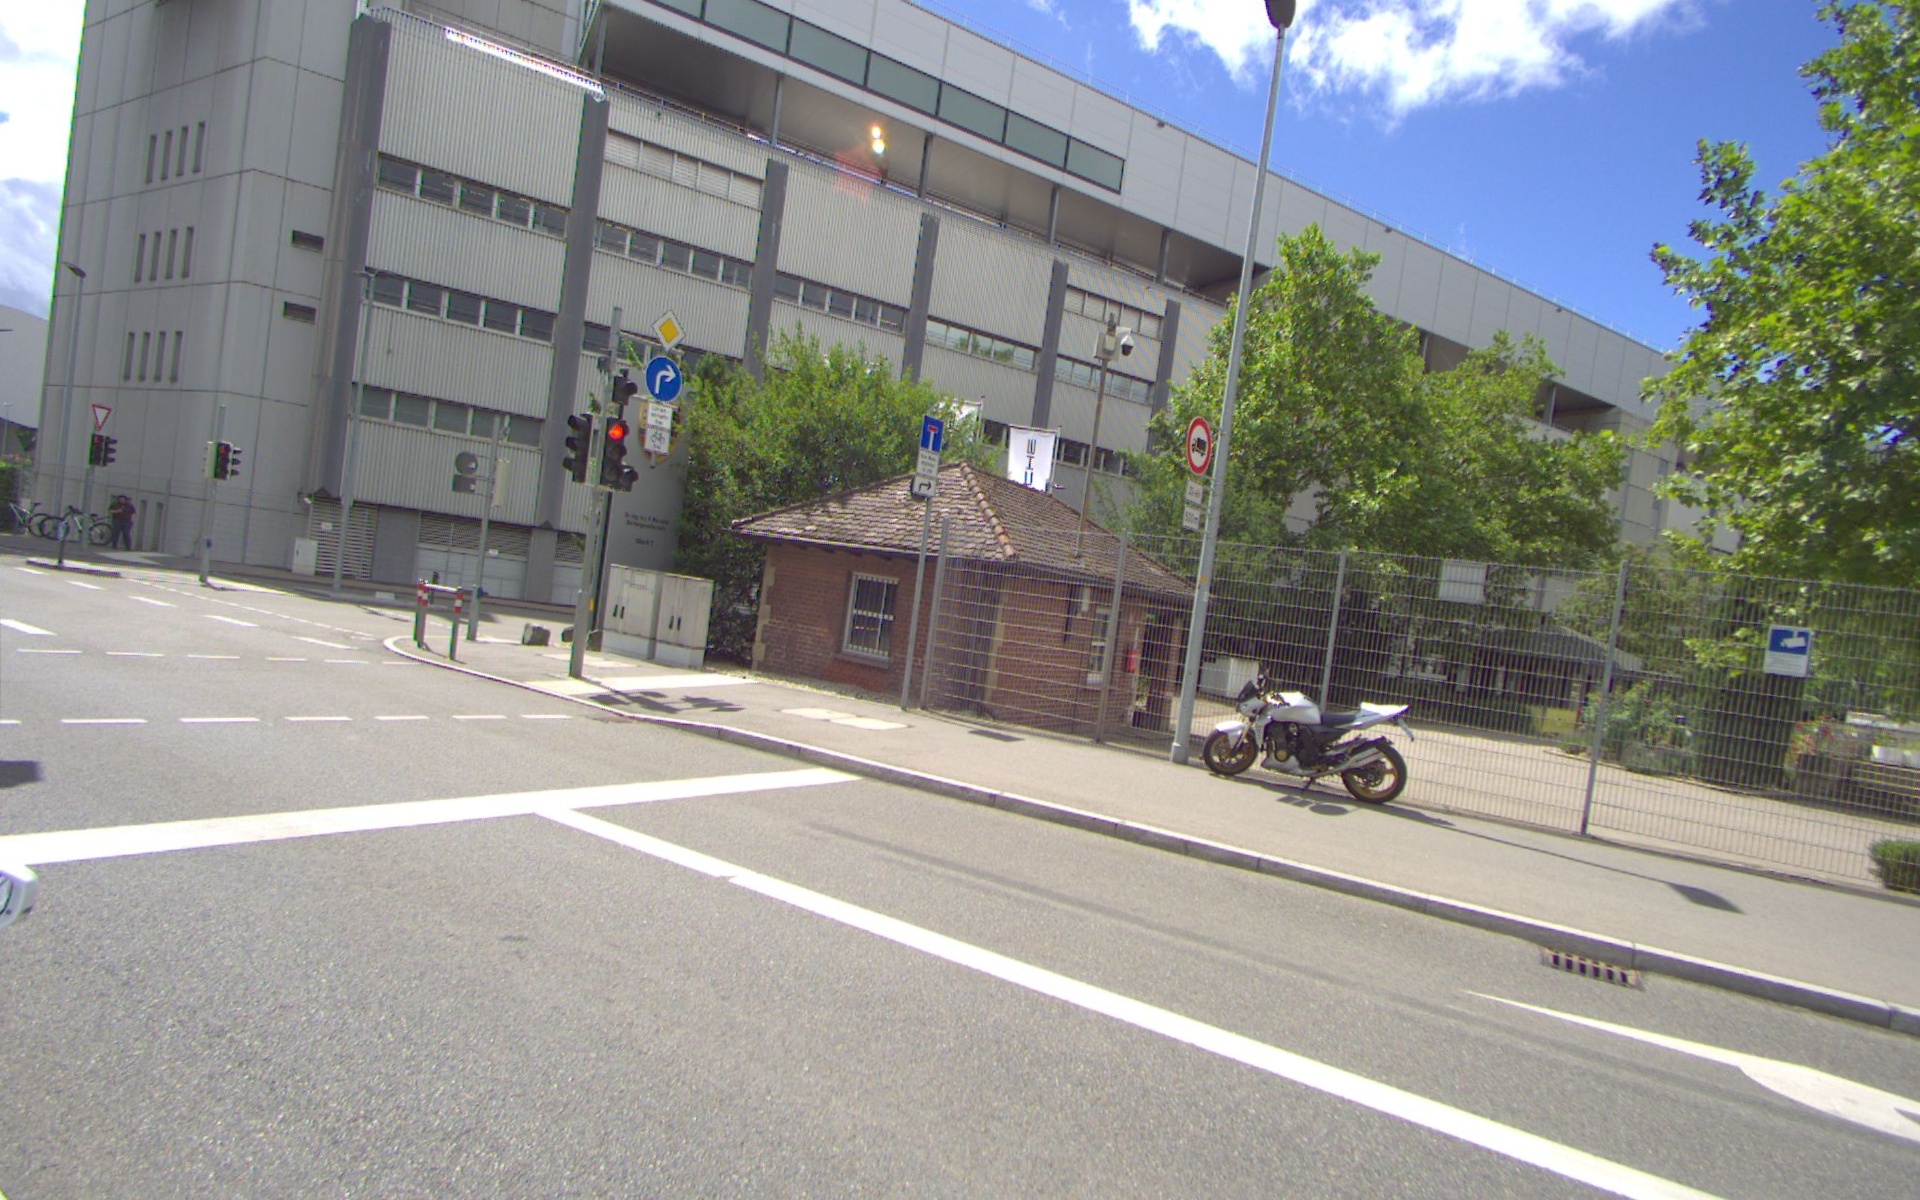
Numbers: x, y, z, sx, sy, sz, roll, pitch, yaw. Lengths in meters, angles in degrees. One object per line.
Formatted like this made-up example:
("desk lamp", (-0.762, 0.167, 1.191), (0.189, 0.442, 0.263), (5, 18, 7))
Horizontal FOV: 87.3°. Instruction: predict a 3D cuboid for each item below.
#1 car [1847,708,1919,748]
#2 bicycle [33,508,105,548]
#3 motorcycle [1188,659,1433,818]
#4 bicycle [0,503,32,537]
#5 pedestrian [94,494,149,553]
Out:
("car", (53.053, 7.293, 56.784), (1.979, 1.803, 3.971), (8, -2, -30))
("bicycle", (-27.252, -2.197, 30.757), (1.892, 0.948, 0.399), (7, 0, 6))
("motorcycle", (3.455, 1.312, 9.987), (2.110, 1.173, 0.693), (7, 2, 27))
("bicycle", (-29.676, -2.531, 31.072), (1.891, 0.948, 0.399), (7, 0, 13))
("pedestrian", (-25.528, -2.312, 30.640), (0.837, 1.644, 0.953), (7, 0, -17))
